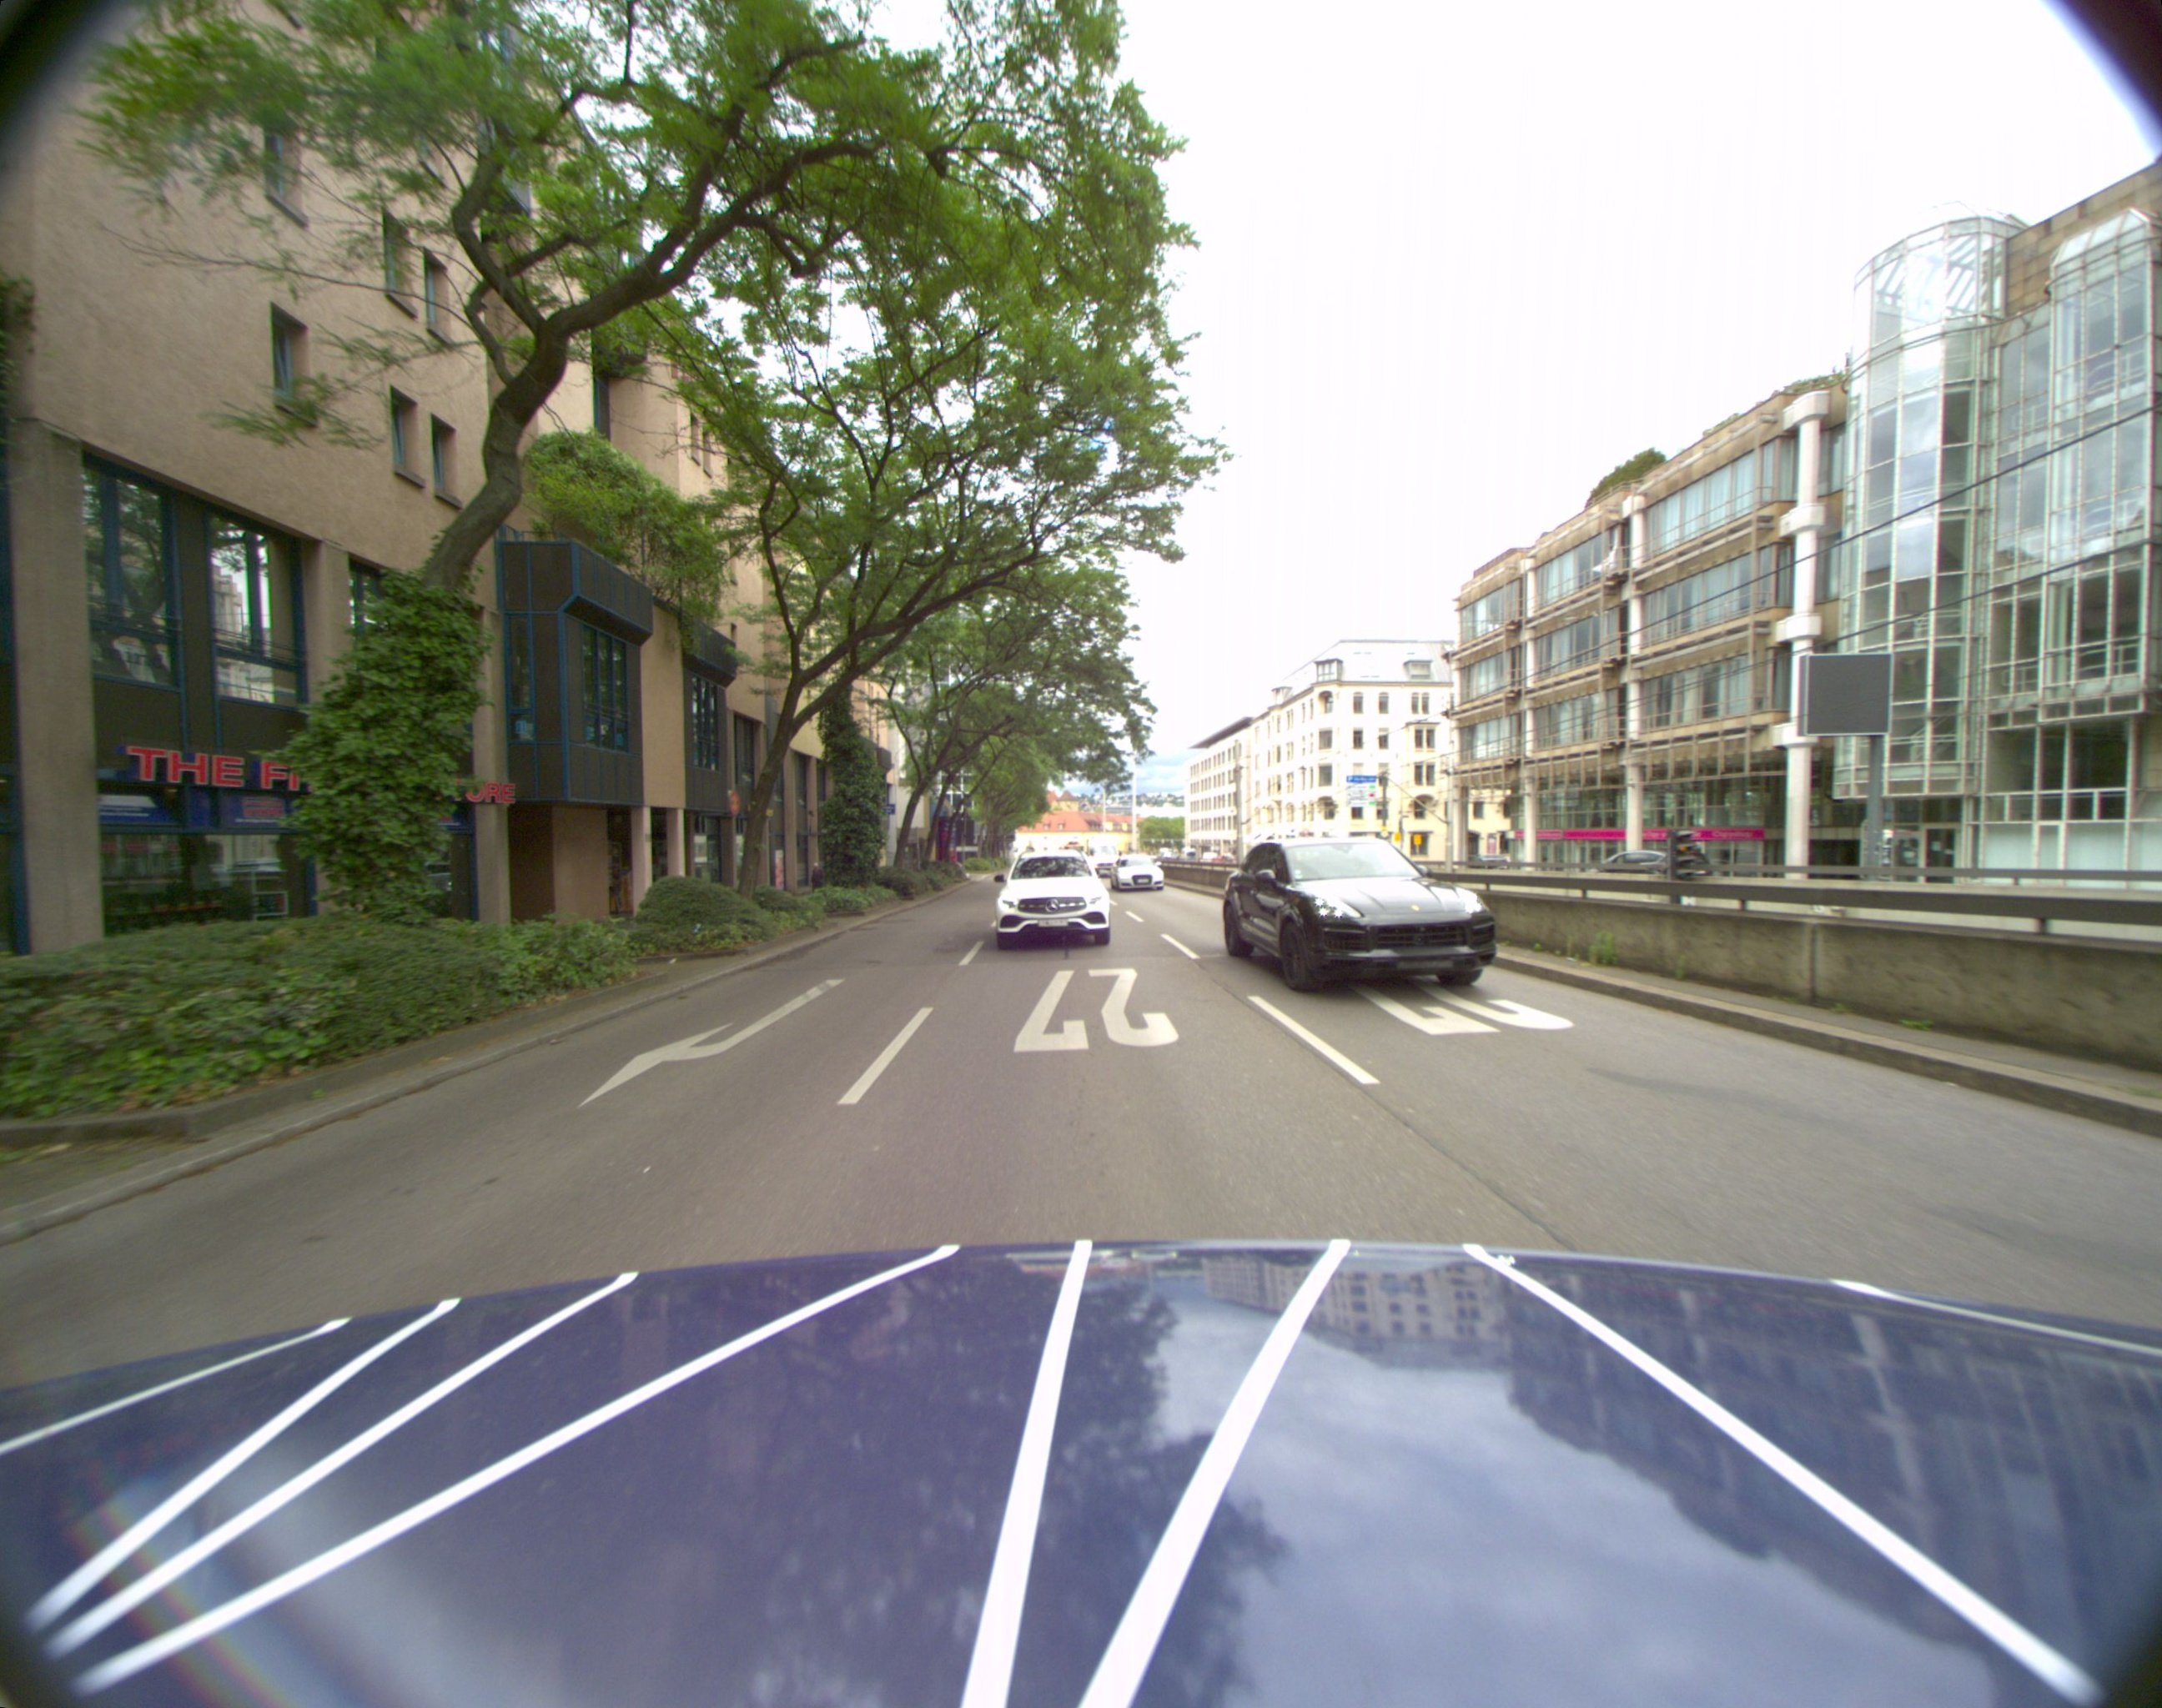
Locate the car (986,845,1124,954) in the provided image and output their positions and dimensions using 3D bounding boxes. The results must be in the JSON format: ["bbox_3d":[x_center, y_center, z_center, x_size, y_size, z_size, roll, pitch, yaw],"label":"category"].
[{"bbox_3d":[-0.470,0.688,13.597,2.060,1.599,3.926,-2,0,-2],"label":"car"}]

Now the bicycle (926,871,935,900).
[{"bbox_3d":[-6.457,1.346,32.629,0.362,1.194,1.569,-1,0,-10],"label":"bicycle"}]

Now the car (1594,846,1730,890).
[{"bbox_3d":[21.439,0.481,28.276,1.668,1.492,4.413,-1,0,0],"label":"car"}]

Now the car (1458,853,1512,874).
[{"bbox_3d":[33.372,0.780,62.769,3.599,1.651,1.649,0,0,-5],"label":"car"}]

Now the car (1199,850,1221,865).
[{"bbox_3d":[18.121,0.426,106.819,1.999,2.002,4.789,-2,0,-2],"label":"car"}]

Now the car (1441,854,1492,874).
[{"bbox_3d":[32.954,0.874,64.973,3.599,1.651,1.649,0,0,-5],"label":"car"}]

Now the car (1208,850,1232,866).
[{"bbox_3d":[18.368,0.490,100.519,1.999,2.002,4.789,-2,0,-2],"label":"car"}]

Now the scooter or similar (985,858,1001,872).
[{"bbox_3d":[-9.282,1.185,80.088,1.536,1.425,0.686,-3,1,-33],"label":"scooter or similar"}]

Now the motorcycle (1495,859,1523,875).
[{"bbox_3d":[30.256,0.913,53.724,0.645,1.069,1.670,-2,1,-22],"label":"motorcycle"}]

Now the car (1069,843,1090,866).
[{"bbox_3d":[-0.169,0.010,97.298,2.503,2.793,5.727,-2,1,-1],"label":"car"}]

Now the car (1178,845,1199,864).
[{"bbox_3d":[17.292,0.062,122.237,2.370,3.043,5.468,-2,1,-2],"label":"car"}]

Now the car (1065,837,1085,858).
[{"bbox_3d":[-0.813,-0.863,104.878,2.503,2.793,5.727,-2,1,-1],"label":"car"}]

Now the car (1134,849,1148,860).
[{"bbox_3d":[12.130,0.079,154.691,2.115,2.002,4.788,-2,0,-3],"label":"car"}]

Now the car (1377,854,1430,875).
[{"bbox_3d":[26.476,0.849,62.380,3.649,1.651,1.649,0,0,-5],"label":"car"}]

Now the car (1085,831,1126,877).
[{"bbox_3d":[1.634,0.001,48.953,2.294,2.723,4.755,-2,1,5],"label":"car"}]

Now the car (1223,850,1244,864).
[{"bbox_3d":[21.743,0.407,108.616,1.999,2.002,3.999,0,0,-2],"label":"car"}]

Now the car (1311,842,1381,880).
[{"bbox_3d":[14.456,0.329,41.743,1.839,1.831,4.603,-5,1,-4],"label":"car"}]

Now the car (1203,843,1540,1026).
[{"bbox_3d":[3.139,0.736,9.735,2.088,1.665,5.350,-1,0,-2],"label":"car"}]

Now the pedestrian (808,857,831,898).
[{"bbox_3d":[-11.172,1.008,32.466,0.711,1.701,0.688,-1,0,4],"label":"pedestrian"}]

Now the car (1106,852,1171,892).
[{"bbox_3d":[2.348,0.711,31.962,1.950,1.521,3.997,-2,0,-7],"label":"car"}]
